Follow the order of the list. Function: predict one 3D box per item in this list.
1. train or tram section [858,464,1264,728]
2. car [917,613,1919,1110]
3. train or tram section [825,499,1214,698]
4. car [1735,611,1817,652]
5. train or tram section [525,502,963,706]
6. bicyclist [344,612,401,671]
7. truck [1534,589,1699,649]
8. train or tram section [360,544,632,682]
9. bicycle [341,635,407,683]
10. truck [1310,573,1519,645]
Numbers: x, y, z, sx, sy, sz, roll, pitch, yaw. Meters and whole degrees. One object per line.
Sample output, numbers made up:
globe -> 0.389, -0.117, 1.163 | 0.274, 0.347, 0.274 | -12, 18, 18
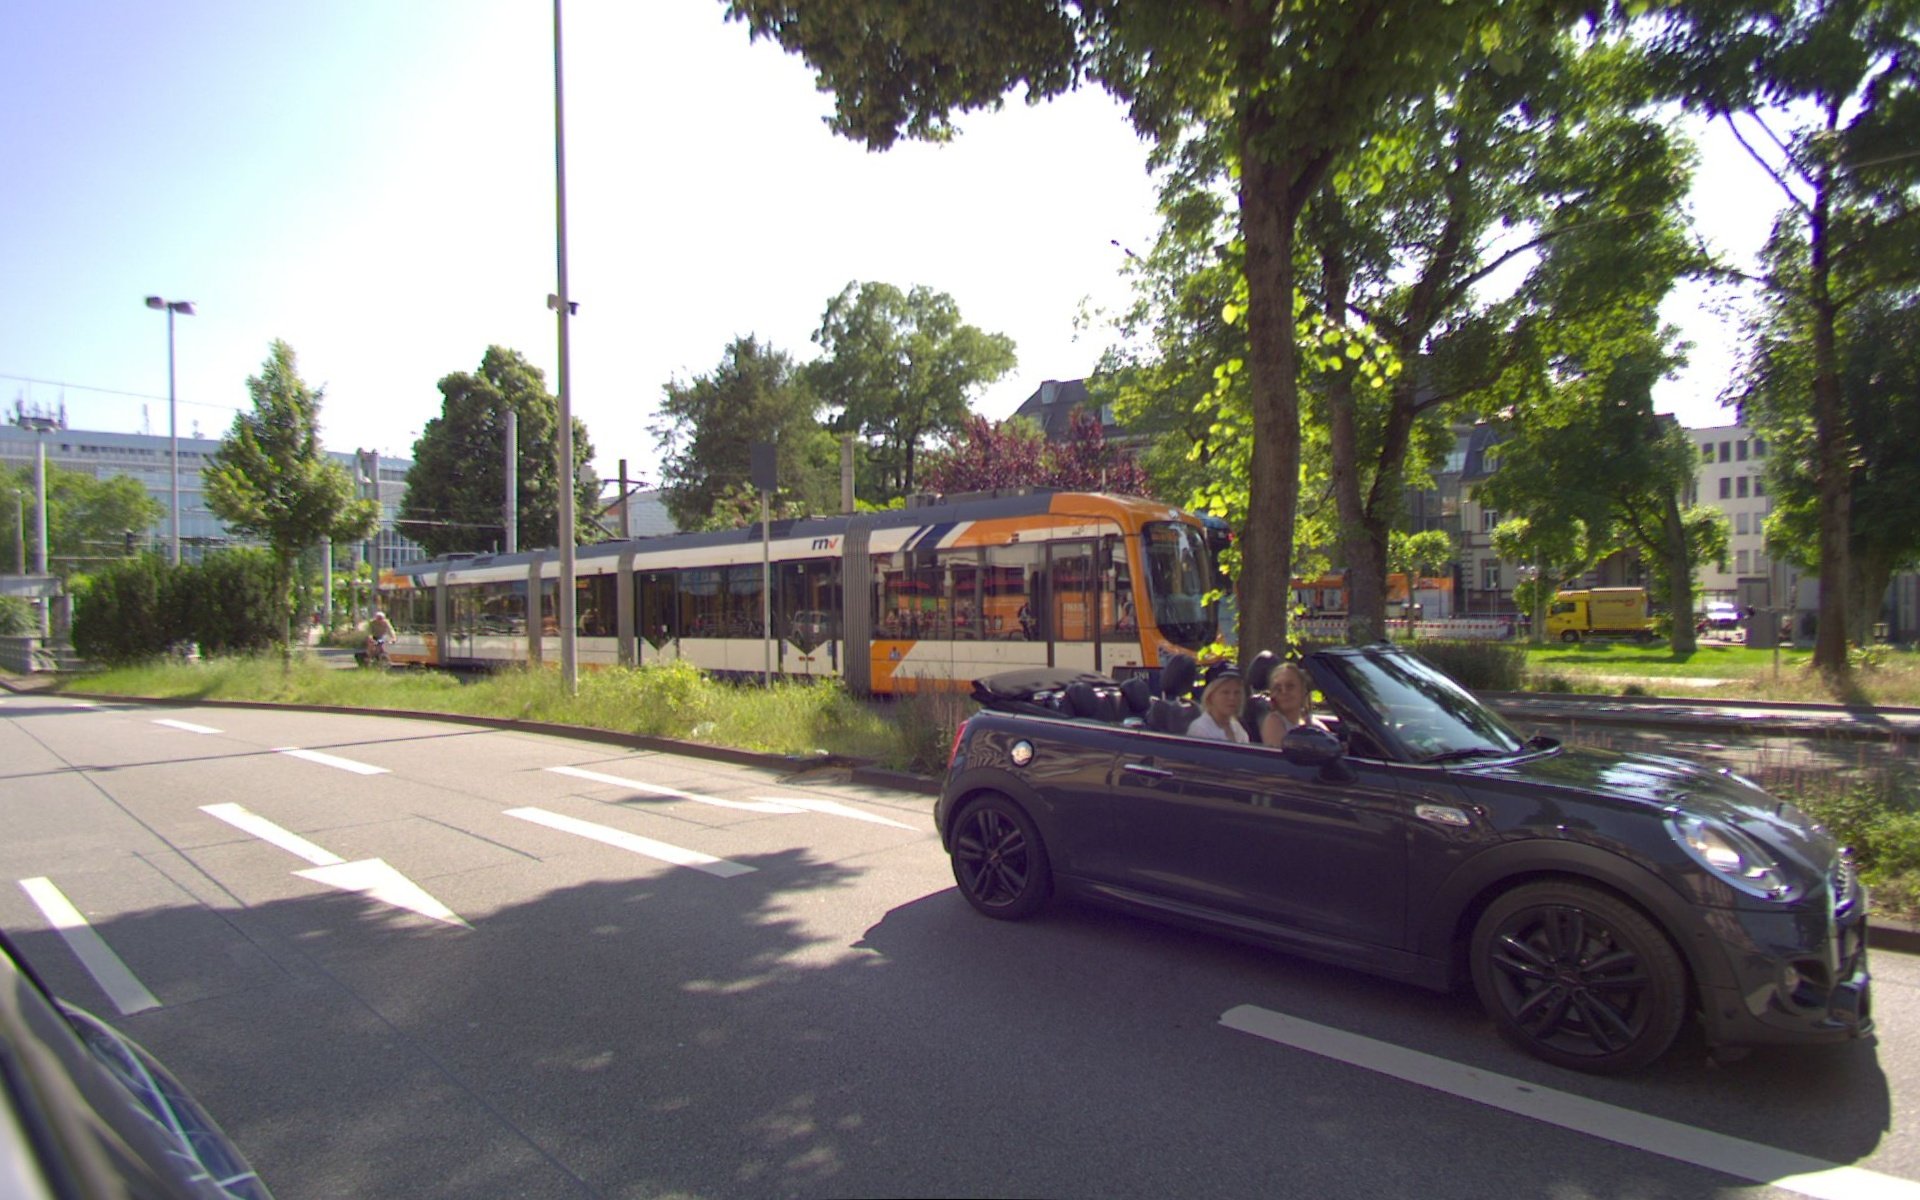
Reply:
train or tram section -> 1.415, 0.015, 16.086 | 5.883, 3.429, 2.731 | -2, -1, 41
car -> 1.772, 0.751, 4.495 | 3.913, 1.318, 1.615 | -2, -2, 42
train or tram section -> 0.838, 0.089, 20.971 | 8.528, 3.415, 2.045 | -2, -2, 41
car -> 43.263, 1.646, 53.760 | 1.985, 2.029, 4.526 | -1, -1, 20
train or tram section -> -5.439, 0.241, 22.237 | 12.409, 3.429, 2.730 | -2, -2, 42
bicyclist -> -14.656, 1.025, 25.241 | 1.232, 1.404, 0.901 | -2, -2, 41
truck -> 37.130, 1.124, 57.395 | 7.641, 3.240, 2.435 | -2, -2, 37
train or tram section -> -14.335, 0.508, 30.344 | 12.407, 3.429, 2.730 | -2, -2, 42
bicycle -> -14.595, 1.440, 25.164 | 2.495, 1.091, 0.635 | -1, 0, 41
truck -> 29.109, 0.719, 65.311 | 11.788, 4.295, 3.588 | -2, -2, 36
